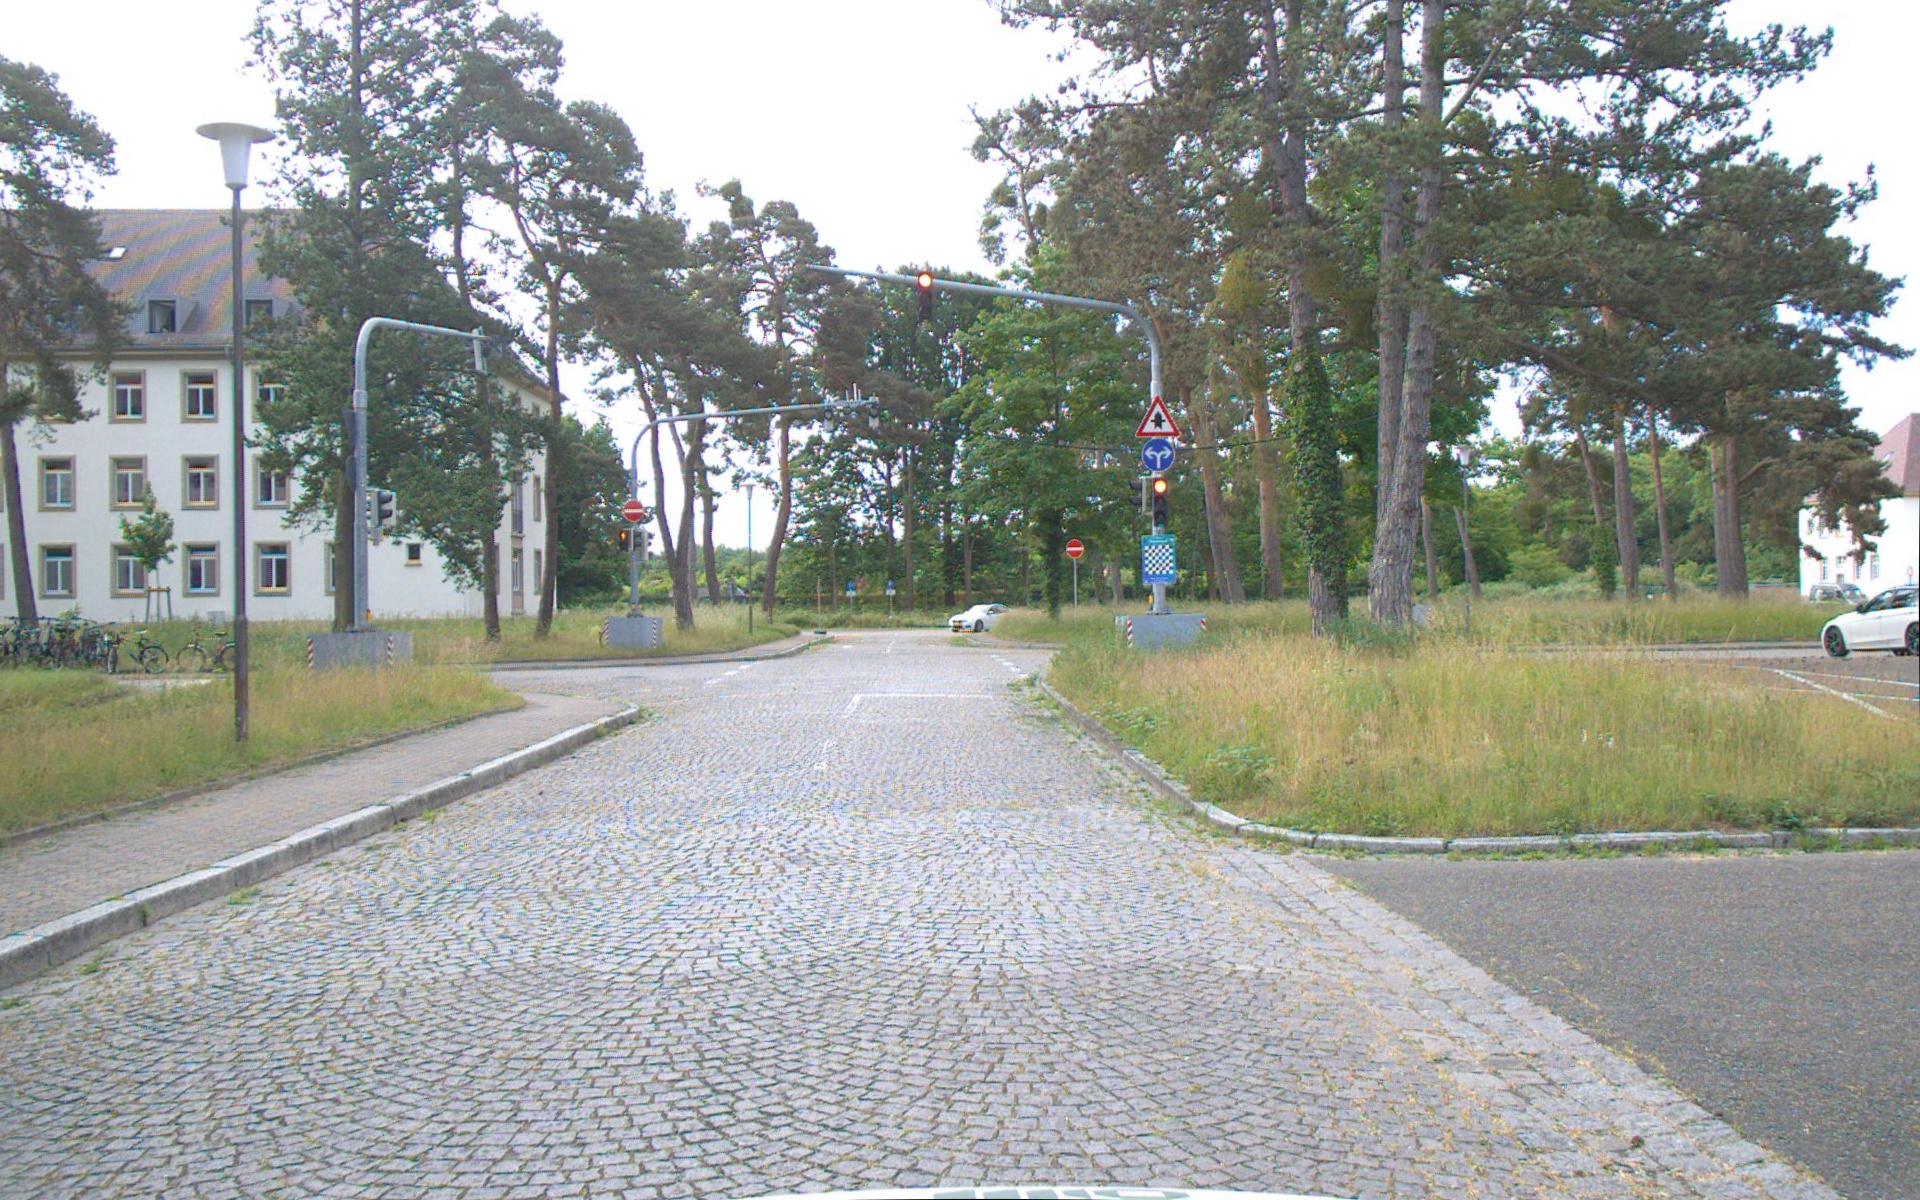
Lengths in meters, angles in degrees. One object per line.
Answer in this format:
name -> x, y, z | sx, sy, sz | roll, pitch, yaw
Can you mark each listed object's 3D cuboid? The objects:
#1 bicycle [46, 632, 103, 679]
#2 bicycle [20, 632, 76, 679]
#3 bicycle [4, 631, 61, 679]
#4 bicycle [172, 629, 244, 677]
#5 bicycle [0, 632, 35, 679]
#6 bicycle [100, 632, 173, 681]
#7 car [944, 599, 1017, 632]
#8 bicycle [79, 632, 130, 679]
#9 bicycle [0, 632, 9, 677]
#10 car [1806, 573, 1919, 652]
bicycle -> -21.611, 1.347, 40.393 | 0.504, 1.098, 1.585 | -1, 0, 1
bicycle -> -22.306, 1.341, 40.458 | 0.504, 1.098, 1.585 | -1, 0, -1
bicycle -> -22.661, 1.337, 40.448 | 0.504, 1.098, 1.585 | -1, 0, -1
bicycle -> -17.911, 1.267, 39.413 | 1.435, 1.084, 0.516 | -2, 0, -4
bicycle -> -23.278, 1.342, 40.376 | 0.504, 1.098, 1.585 | -1, 0, -1
bicycle -> -19.511, 1.327, 39.182 | 1.435, 1.098, 0.516 | -2, 0, -4
car -> 1.119, 0.815, 88.521 | 1.744, 1.463, 4.203 | -4, 0, 36
bicycle -> -20.949, 1.353, 40.508 | 0.504, 1.098, 1.584 | -1, 0, -4
bicycle -> -23.889, 1.359, 40.330 | 0.504, 1.098, 1.585 | -1, 0, -1
car -> 19.913, 0.301, 34.568 | 1.812, 1.513, 4.604 | 0, -3, -4
